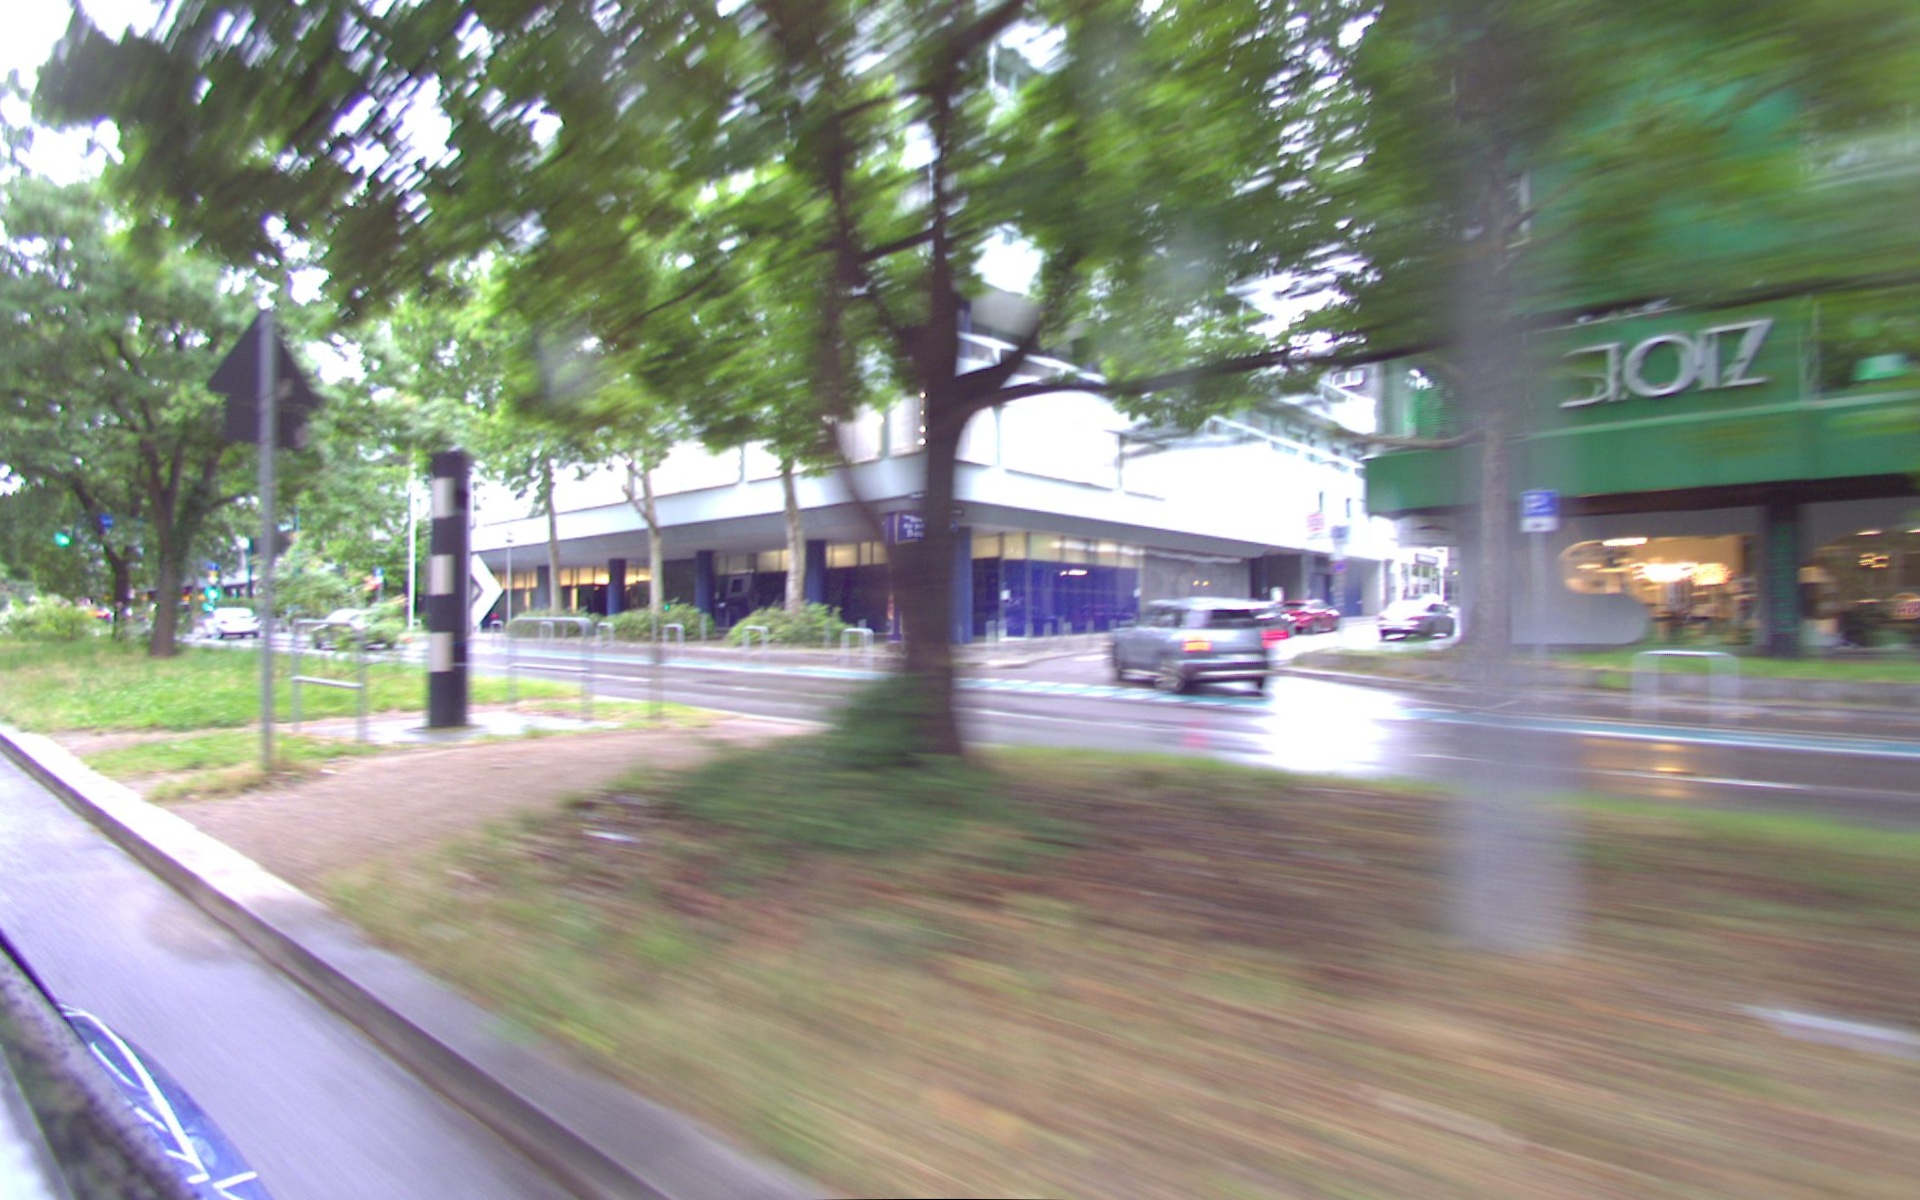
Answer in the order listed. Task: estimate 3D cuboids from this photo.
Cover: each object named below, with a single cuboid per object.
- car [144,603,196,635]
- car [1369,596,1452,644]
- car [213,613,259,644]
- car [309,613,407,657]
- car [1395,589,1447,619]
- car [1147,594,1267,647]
[{"bbox_3d":[-47.313,1.128,60.595,1.970,1.815,4.284,1,-2,-45],"label":"car"},{"bbox_3d":[17.066,0.712,38.223,1.997,1.696,3.950,-1,0,37],"label":"car"},{"bbox_3d":[-35.218,1.367,49.190,3.561,1.473,1.148,-1,-2,43],"label":"car"},{"bbox_3d":[-22.186,1.258,37.226,4.758,1.503,1.971,-1,-2,45],"label":"car"},{"bbox_3d":[27.297,0.246,59.905,1.997,1.696,3.950,-1,0,37],"label":"car"},{"bbox_3d":[8.819,0.661,35.862,2.000,1.705,4.933,0,0,43],"label":"car"}]
